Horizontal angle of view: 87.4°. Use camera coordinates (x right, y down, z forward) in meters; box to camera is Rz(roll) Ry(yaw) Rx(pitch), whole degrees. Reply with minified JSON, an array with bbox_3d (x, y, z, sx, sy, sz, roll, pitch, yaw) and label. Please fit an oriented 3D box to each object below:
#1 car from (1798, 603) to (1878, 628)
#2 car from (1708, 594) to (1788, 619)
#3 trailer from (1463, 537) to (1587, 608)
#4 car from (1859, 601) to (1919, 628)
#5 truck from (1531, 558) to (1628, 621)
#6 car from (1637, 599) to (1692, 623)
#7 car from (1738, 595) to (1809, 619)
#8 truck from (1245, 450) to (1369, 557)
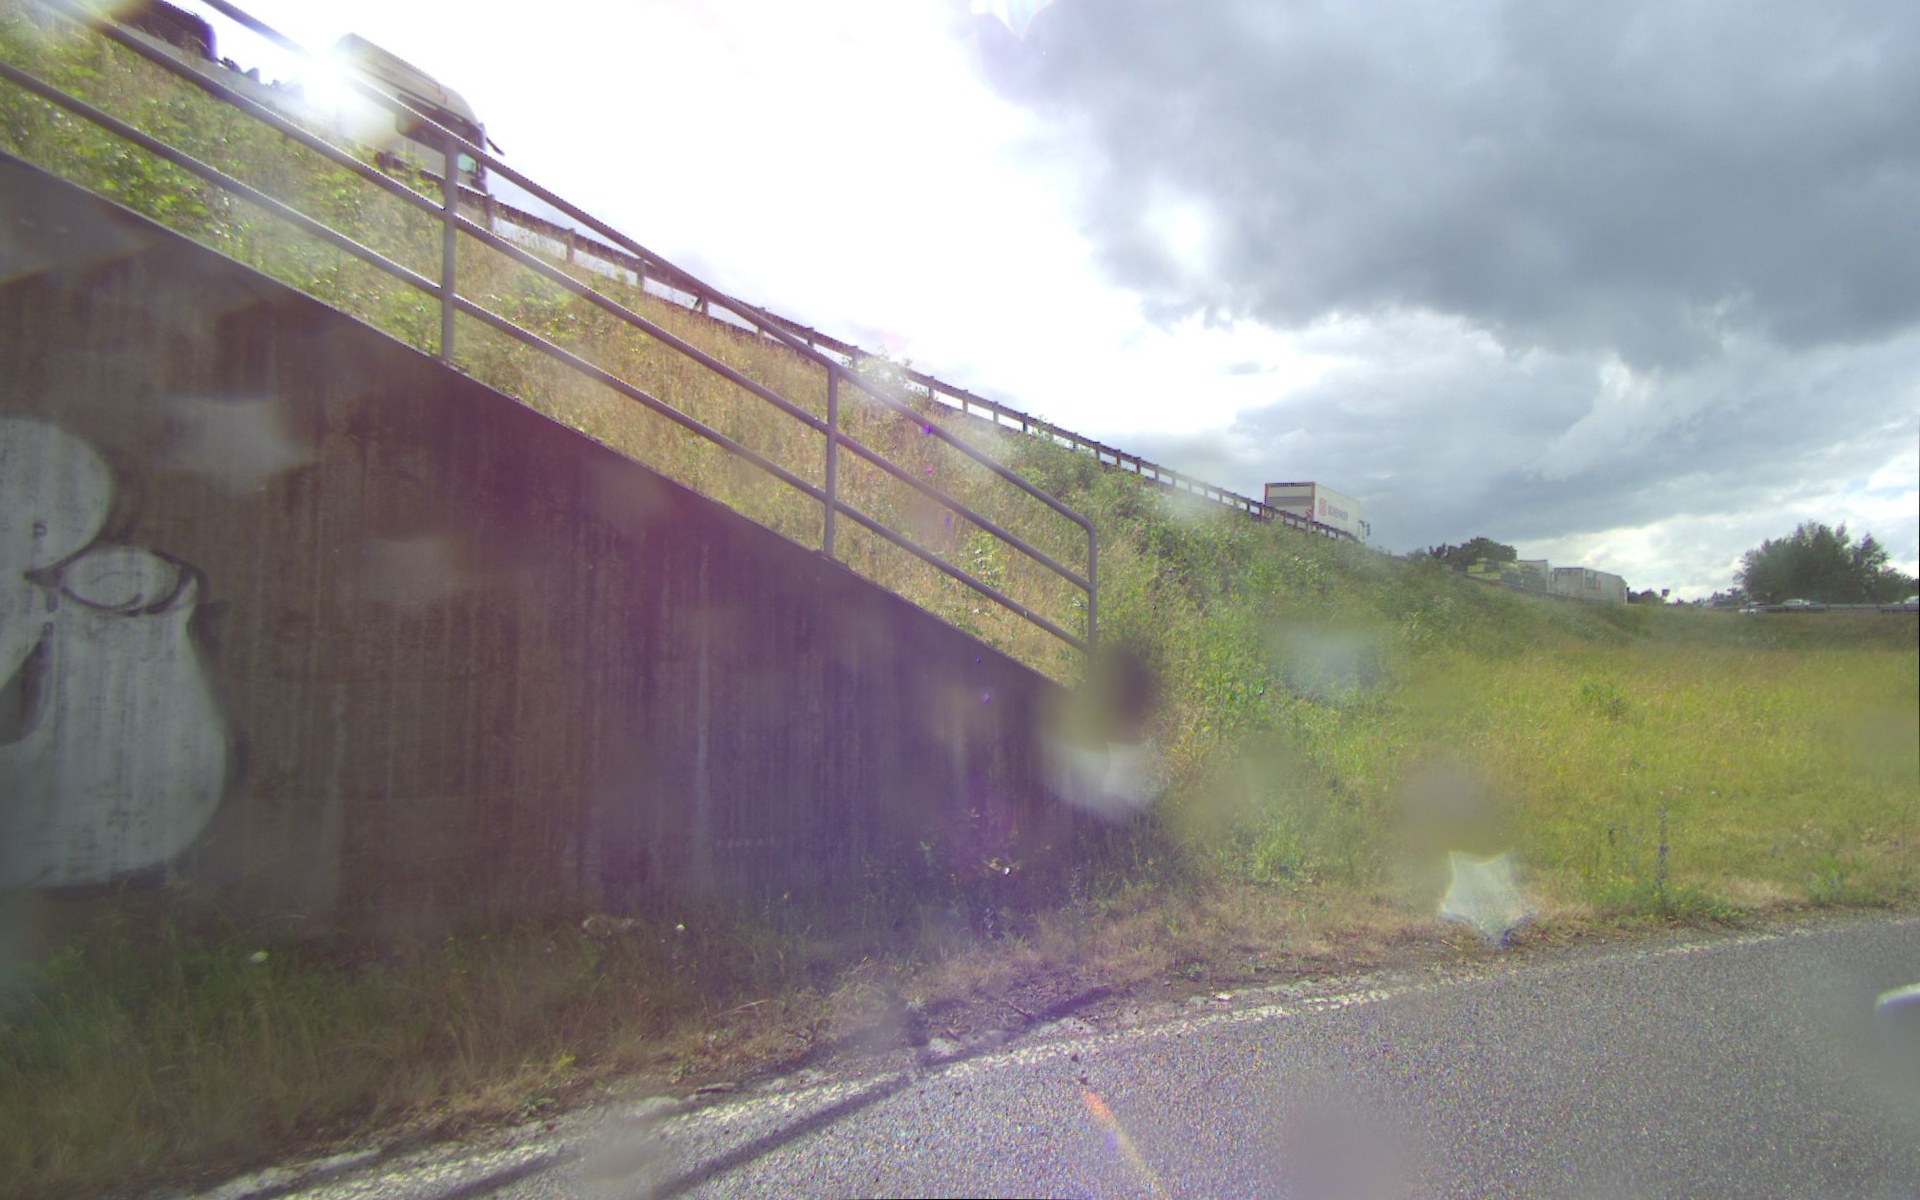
[{"bbox_3d":[71.461,1.301,81.836,1.970,1.885,4.491,1,-3,-20],"label":"car"},{"bbox_3d":[67.137,0.609,85.696,1.973,1.885,5.027,2,-3,-25],"label":"car"},{"bbox_3d":[47.377,-1.992,83.565,4.366,4.007,20.109,0,-4,43],"label":"trailer"},{"bbox_3d":[69.877,1.075,74.165,1.966,1.885,5.046,1,-3,-13],"label":"car"},{"bbox_3d":[60.562,-0.777,97.758,4.412,4.561,19.272,0,-4,43],"label":"truck"},{"bbox_3d":[62.390,0.959,88.975,3.938,2.040,1.820,0,-3,39],"label":"car"},{"bbox_3d":[72.760,0.637,89.959,1.962,1.885,5.055,1,-3,-4],"label":"car"},{"bbox_3d":[18.115,-4.749,51.939,3.141,4.017,9.202,0,-4,38],"label":"truck"}]
